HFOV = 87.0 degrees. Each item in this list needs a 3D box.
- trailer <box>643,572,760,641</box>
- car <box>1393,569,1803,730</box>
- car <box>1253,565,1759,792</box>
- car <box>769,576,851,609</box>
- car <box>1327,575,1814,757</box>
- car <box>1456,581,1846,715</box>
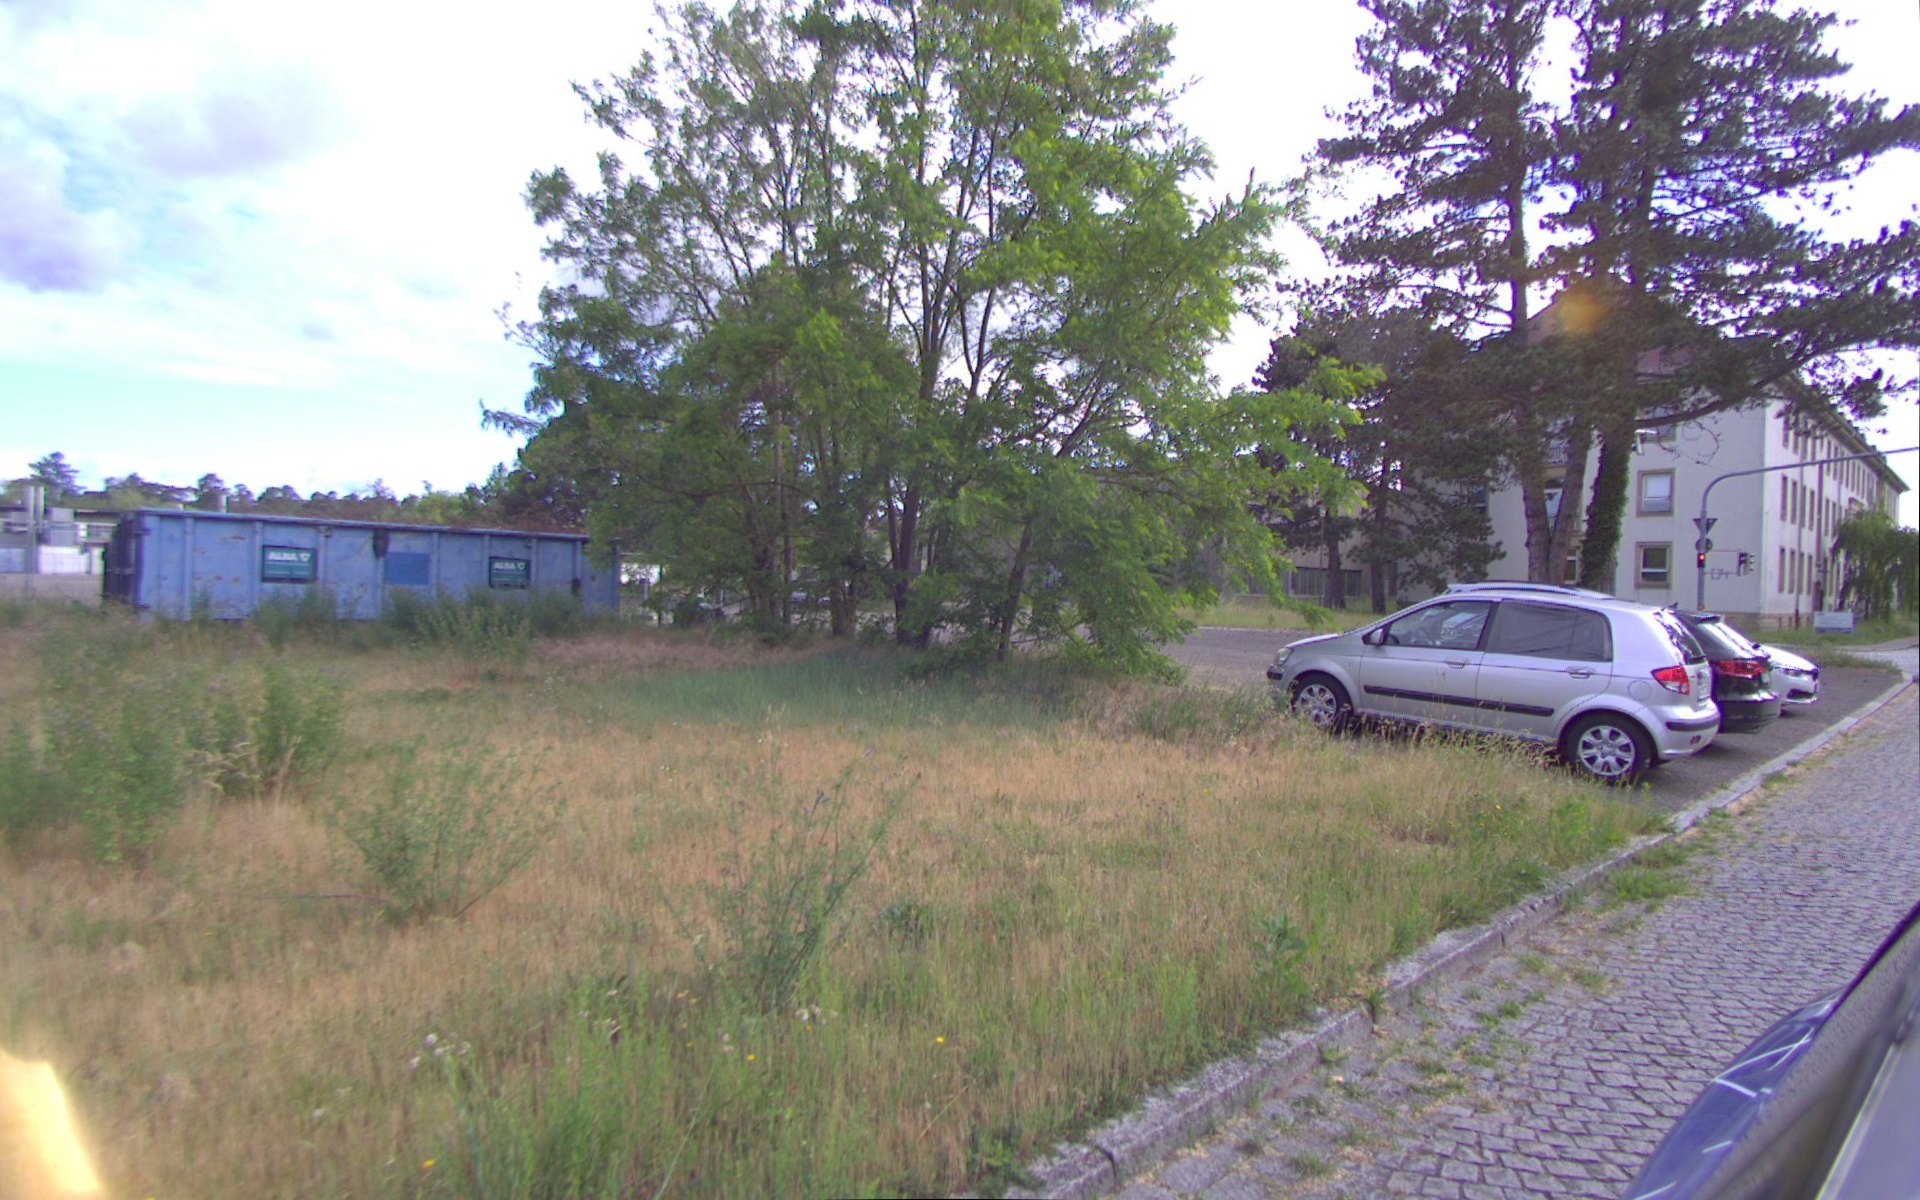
[{"bbox_3d":[-4.793,0.093,18.677,1.125,1.185,2.315,0,1,-43],"label":"trailer"},{"bbox_3d":[8.388,0.507,13.572,4.331,1.593,1.799,6,4,43],"label":"car"},{"bbox_3d":[4.933,0.553,9.488,1.714,1.497,3.776,2,3,-45],"label":"car"},{"bbox_3d":[-7.434,-0.381,49.809,4.138,1.492,1.835,2,1,44],"label":"car"},{"bbox_3d":[6.696,0.584,11.499,1.766,1.423,4.373,2,3,-43],"label":"car"},{"bbox_3d":[10.249,0.583,15.290,1.797,1.442,4.554,0,4,-45],"label":"car"}]
